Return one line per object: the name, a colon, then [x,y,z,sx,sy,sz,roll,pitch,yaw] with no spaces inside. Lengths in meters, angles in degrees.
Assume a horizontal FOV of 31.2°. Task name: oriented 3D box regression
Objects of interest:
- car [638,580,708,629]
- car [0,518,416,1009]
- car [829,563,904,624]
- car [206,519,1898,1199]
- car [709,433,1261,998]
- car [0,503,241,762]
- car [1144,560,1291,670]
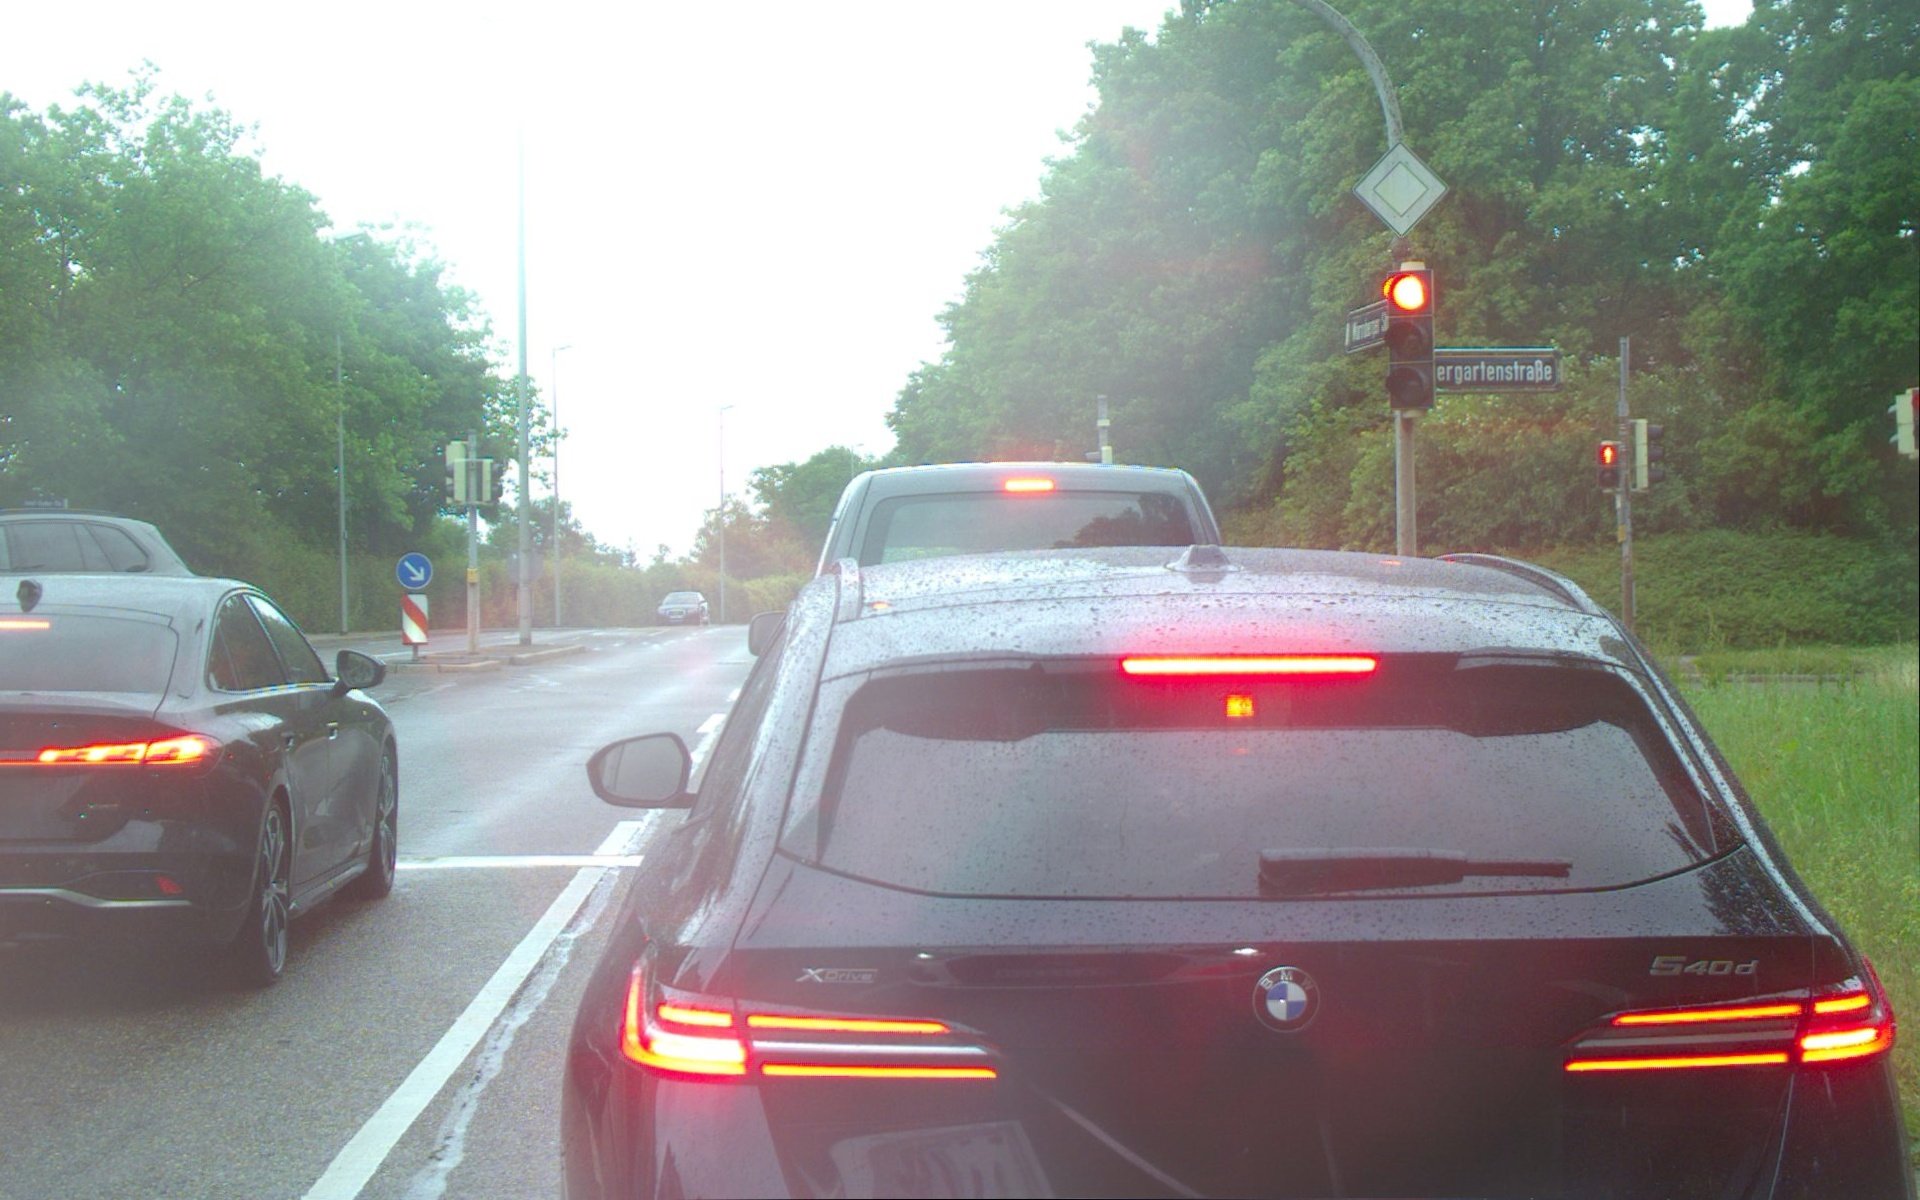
car: [-11.380,0.177,136.480,1.994,1.820,3.999,-2,0,6]
car: [-3.341,0.529,13.024,1.993,1.522,4.328,-2,0,-3]
car: [-2.287,-0.169,84.683,1.697,1.422,3.514,-2,0,0]
car: [0.208,0.694,6.169,1.898,1.546,4.614,0,0,3]
car: [0.080,0.367,13.335,1.818,1.862,3.952,0,0,0]
car: [-7.221,0.235,23.460,1.996,1.711,4.711,-1,1,26]
car: [3.878,0.205,52.403,1.873,1.537,3.952,-2,0,0]
